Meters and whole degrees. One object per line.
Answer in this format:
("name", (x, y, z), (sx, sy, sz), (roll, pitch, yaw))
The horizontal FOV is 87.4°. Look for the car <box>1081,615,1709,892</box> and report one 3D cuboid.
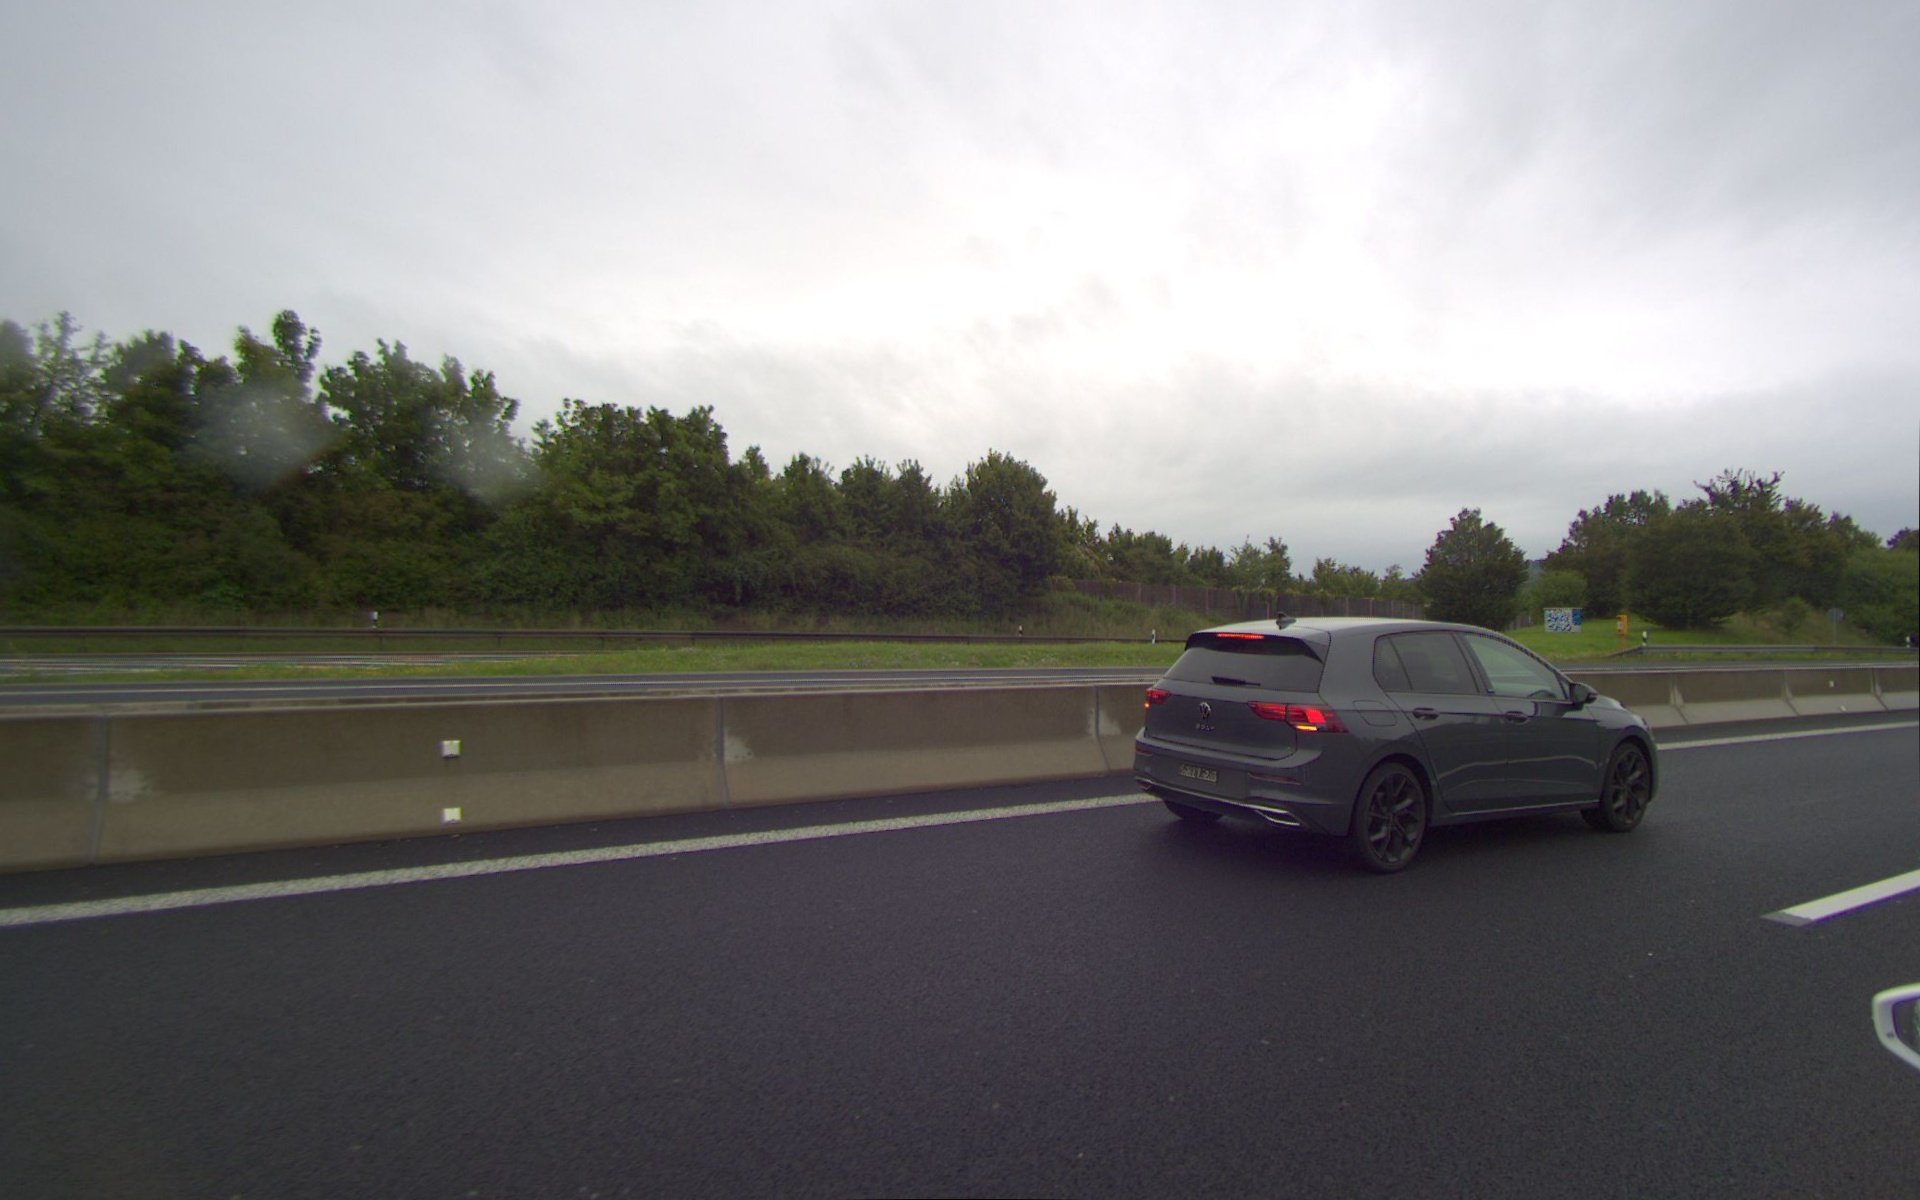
("car", (3.194, 0.846, 7.162), (4.407, 1.424, 1.891), (1, -1, -30))
